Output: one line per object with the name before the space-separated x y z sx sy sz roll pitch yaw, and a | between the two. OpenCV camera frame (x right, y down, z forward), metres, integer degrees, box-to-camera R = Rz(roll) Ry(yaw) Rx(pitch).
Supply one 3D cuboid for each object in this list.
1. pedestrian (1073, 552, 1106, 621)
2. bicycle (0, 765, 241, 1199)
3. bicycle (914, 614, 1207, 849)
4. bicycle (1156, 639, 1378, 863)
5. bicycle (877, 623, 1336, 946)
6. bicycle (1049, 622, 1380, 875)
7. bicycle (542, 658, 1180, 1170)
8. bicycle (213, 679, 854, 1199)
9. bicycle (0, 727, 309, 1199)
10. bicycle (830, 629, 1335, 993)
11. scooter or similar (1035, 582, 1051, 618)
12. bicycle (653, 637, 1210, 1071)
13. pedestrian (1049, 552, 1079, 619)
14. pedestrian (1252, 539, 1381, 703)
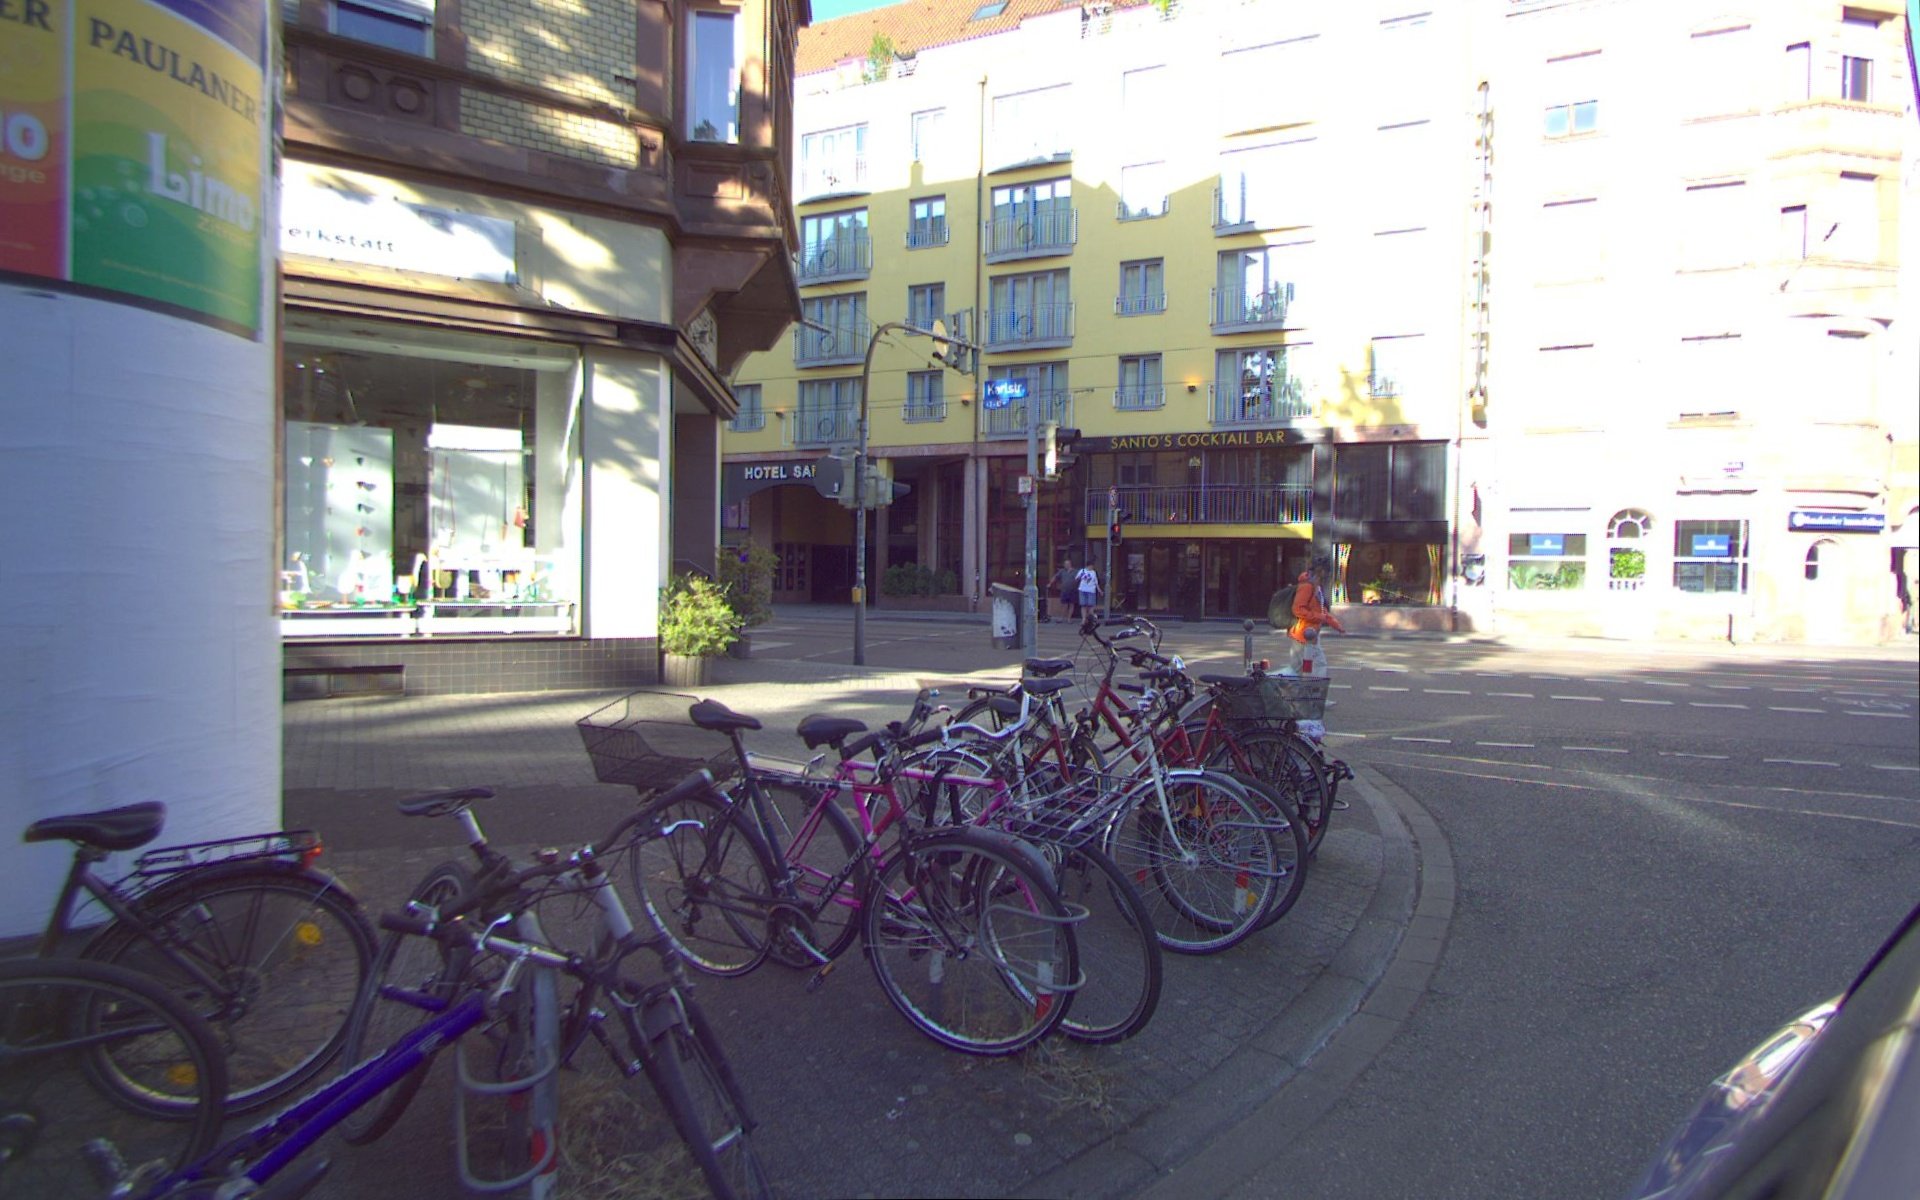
pedestrian | 3.618 -0.404 28.279 0.727 1.862 0.722 1 5 24
bicycle | -2.227 0.846 1.800 1.493 0.938 0.355 0 4 -24
bicycle | 0.508 0.678 5.451 1.450 1.106 0.574 2 4 1
bicycle | 1.724 0.785 5.687 0.994 1.039 0.728 2 2 37
bicycle | 0.604 0.732 4.462 1.913 1.106 0.422 4 4 20
bicycle | 1.200 0.703 4.929 1.449 1.106 0.425 2 4 -1
bicycle | -0.358 0.816 3.089 1.915 1.064 0.499 4 4 23
bicycle | -1.128 0.823 2.375 1.927 0.999 0.490 5 5 37
bicycle | -2.322 0.827 2.206 1.494 0.938 0.355 0 4 -30
bicycle | 0.443 0.753 4.041 1.913 1.106 0.422 4 4 20
scooter or similar | 2.380 0.003 28.890 0.353 0.988 0.420 1 5 22
bicycle | -0.157 0.770 3.529 1.915 1.106 0.422 4 4 23
pedestrian | 2.986 -0.435 28.913 0.672 1.862 0.722 1 5 24
pedestrian | 3.895 0.204 11.173 1.155 1.700 1.005 1 1 11
